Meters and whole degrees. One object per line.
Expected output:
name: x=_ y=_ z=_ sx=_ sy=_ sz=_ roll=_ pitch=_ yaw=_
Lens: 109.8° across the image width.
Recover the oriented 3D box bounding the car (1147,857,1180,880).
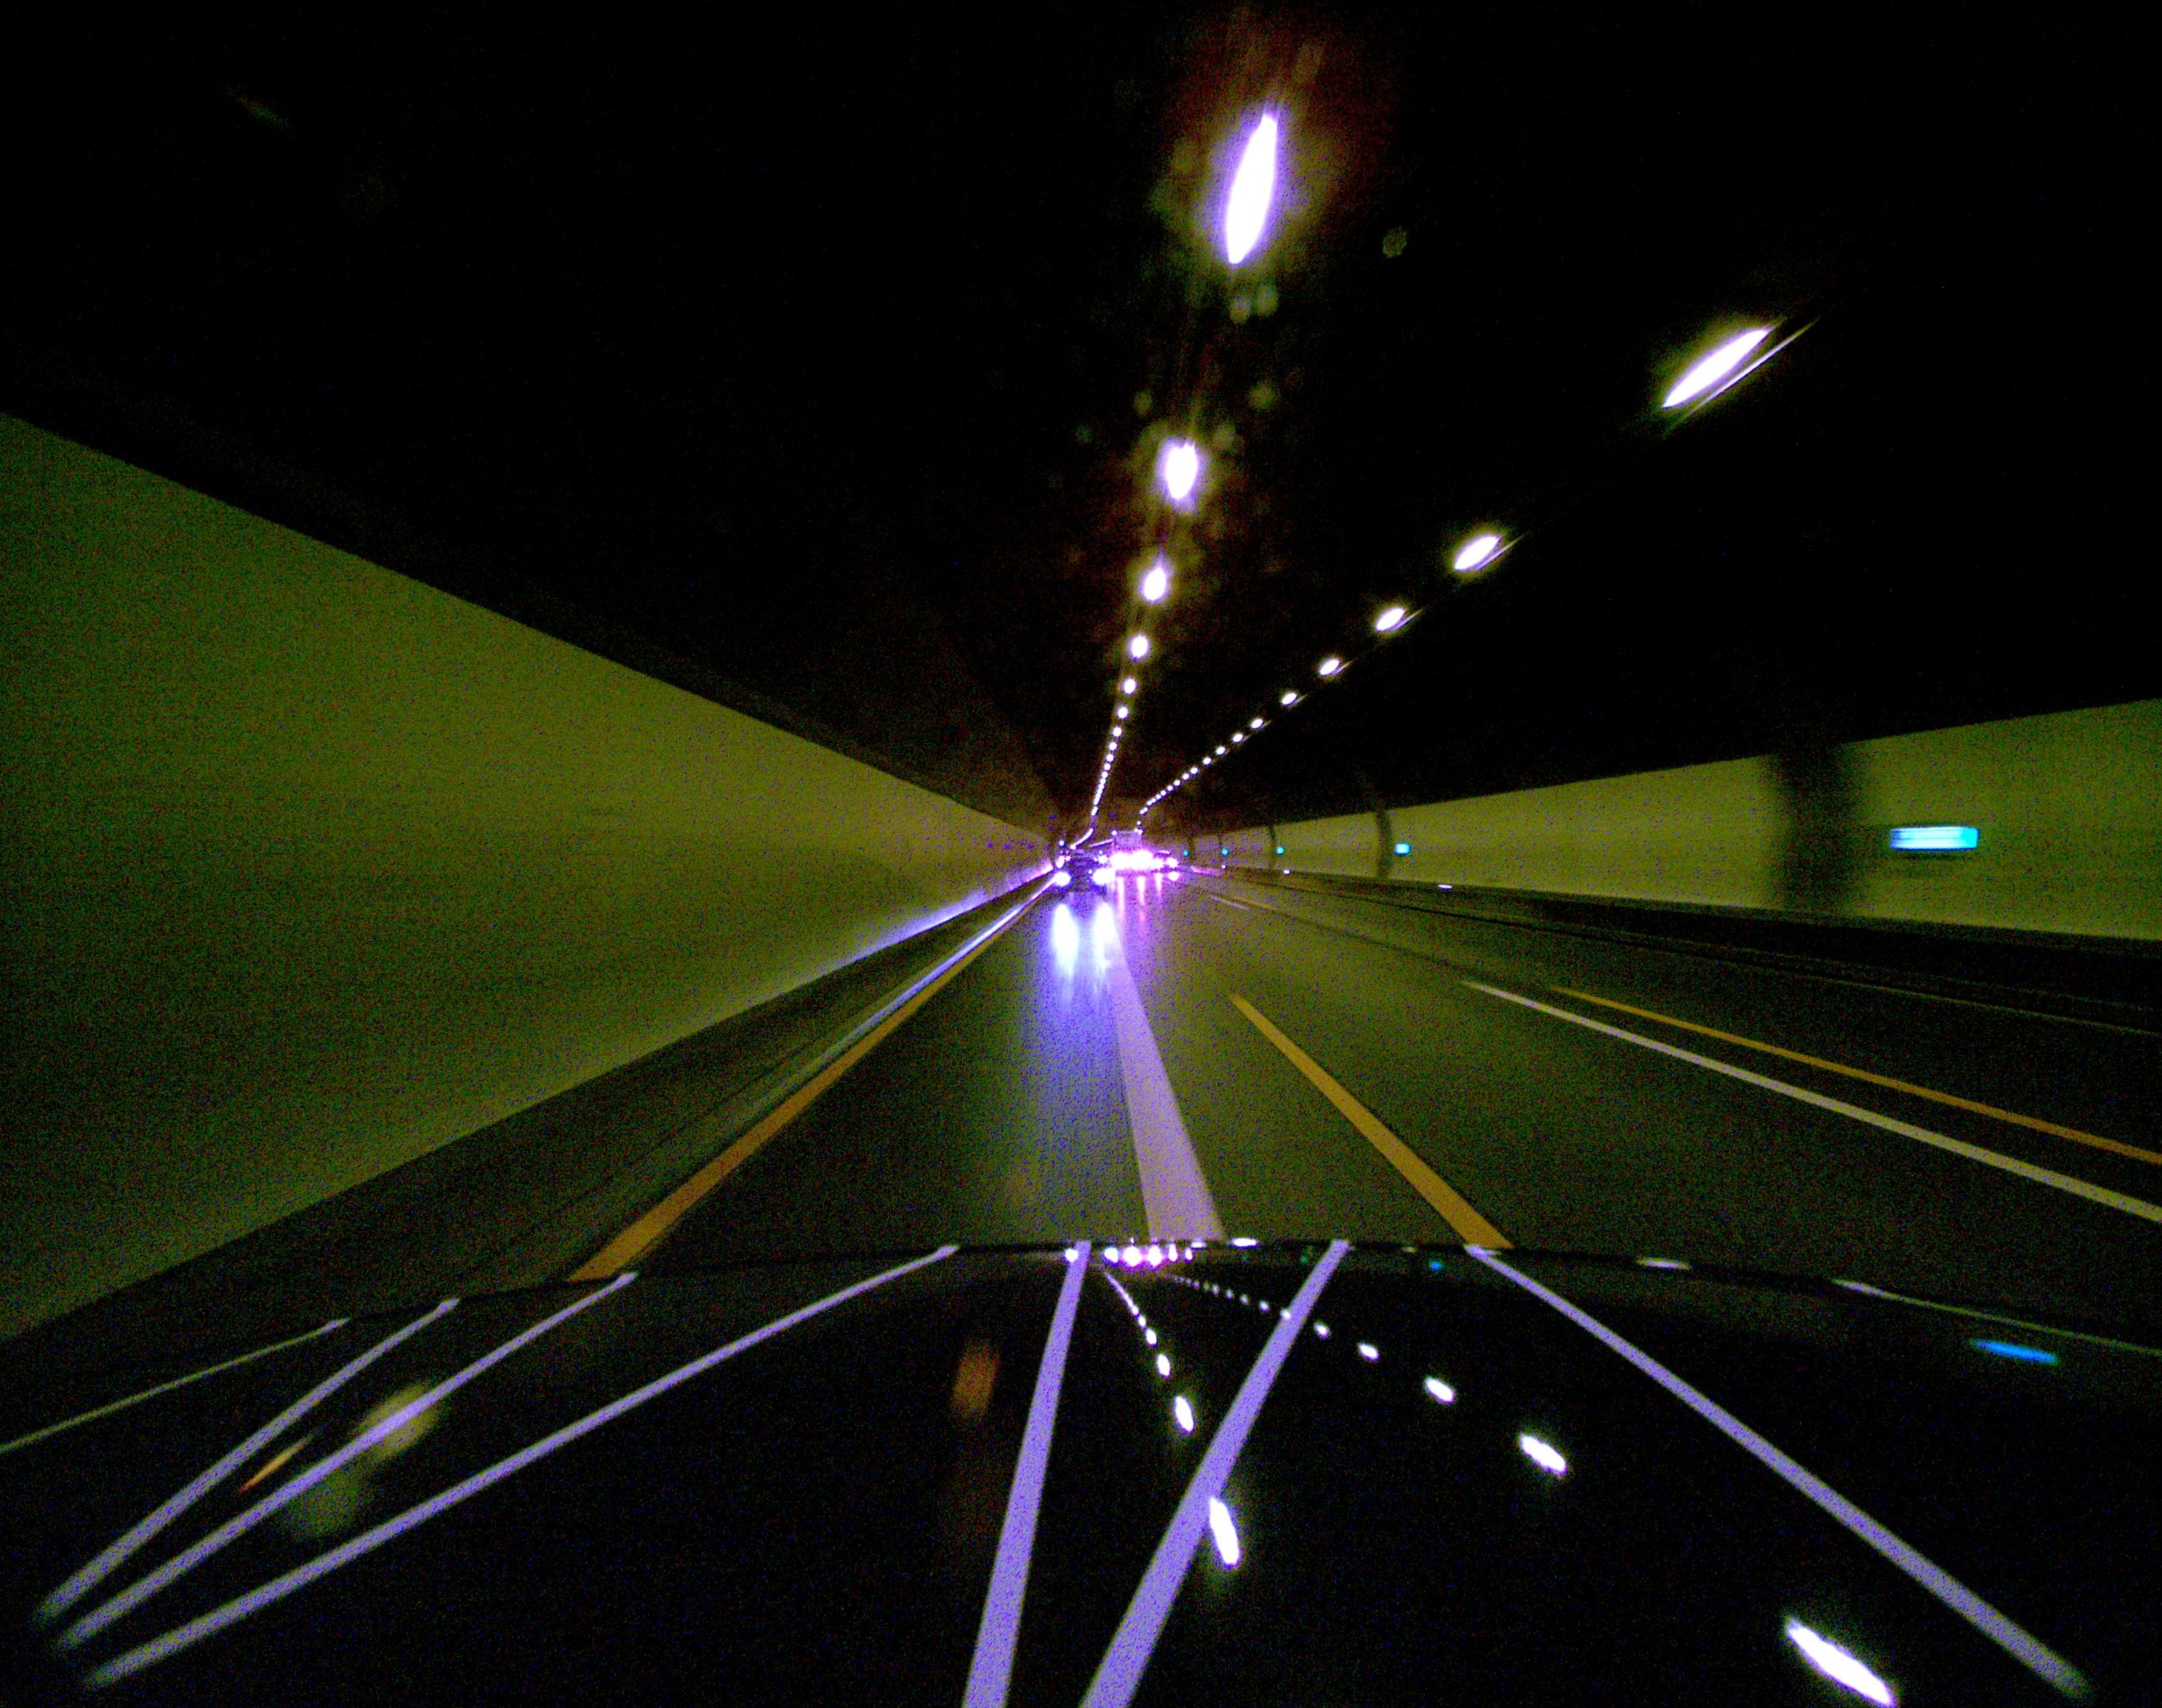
car: x=6.403 y=1.067 z=59.209 sx=1.998 sy=1.531 sz=4.850 roll=-4 pitch=1 yaw=1

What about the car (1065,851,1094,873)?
car: x=-0.165 y=0.591 z=60.279 sx=1.999 sy=1.531 sz=4.740 roll=-4 pitch=1 yaw=-3

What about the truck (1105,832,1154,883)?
truck: x=3.452 y=0.235 z=56.264 sx=2.534 sy=3.314 sz=7.713 roll=-4 pitch=0 yaw=-3

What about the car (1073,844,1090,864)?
car: x=0.048 y=0.003 z=114.648 sx=1.999 sy=2.710 sz=6.272 roll=-4 pitch=1 yaw=-3

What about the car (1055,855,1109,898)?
car: x=-0.042 y=0.840 z=30.501 sx=1.826 sy=1.469 sz=4.520 roll=-4 pitch=0 yaw=-3

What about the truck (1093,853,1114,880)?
truck: x=2.761 y=1.470 z=92.902 sx=2.162 sy=3.098 sz=6.029 roll=-4 pitch=1 yaw=0
